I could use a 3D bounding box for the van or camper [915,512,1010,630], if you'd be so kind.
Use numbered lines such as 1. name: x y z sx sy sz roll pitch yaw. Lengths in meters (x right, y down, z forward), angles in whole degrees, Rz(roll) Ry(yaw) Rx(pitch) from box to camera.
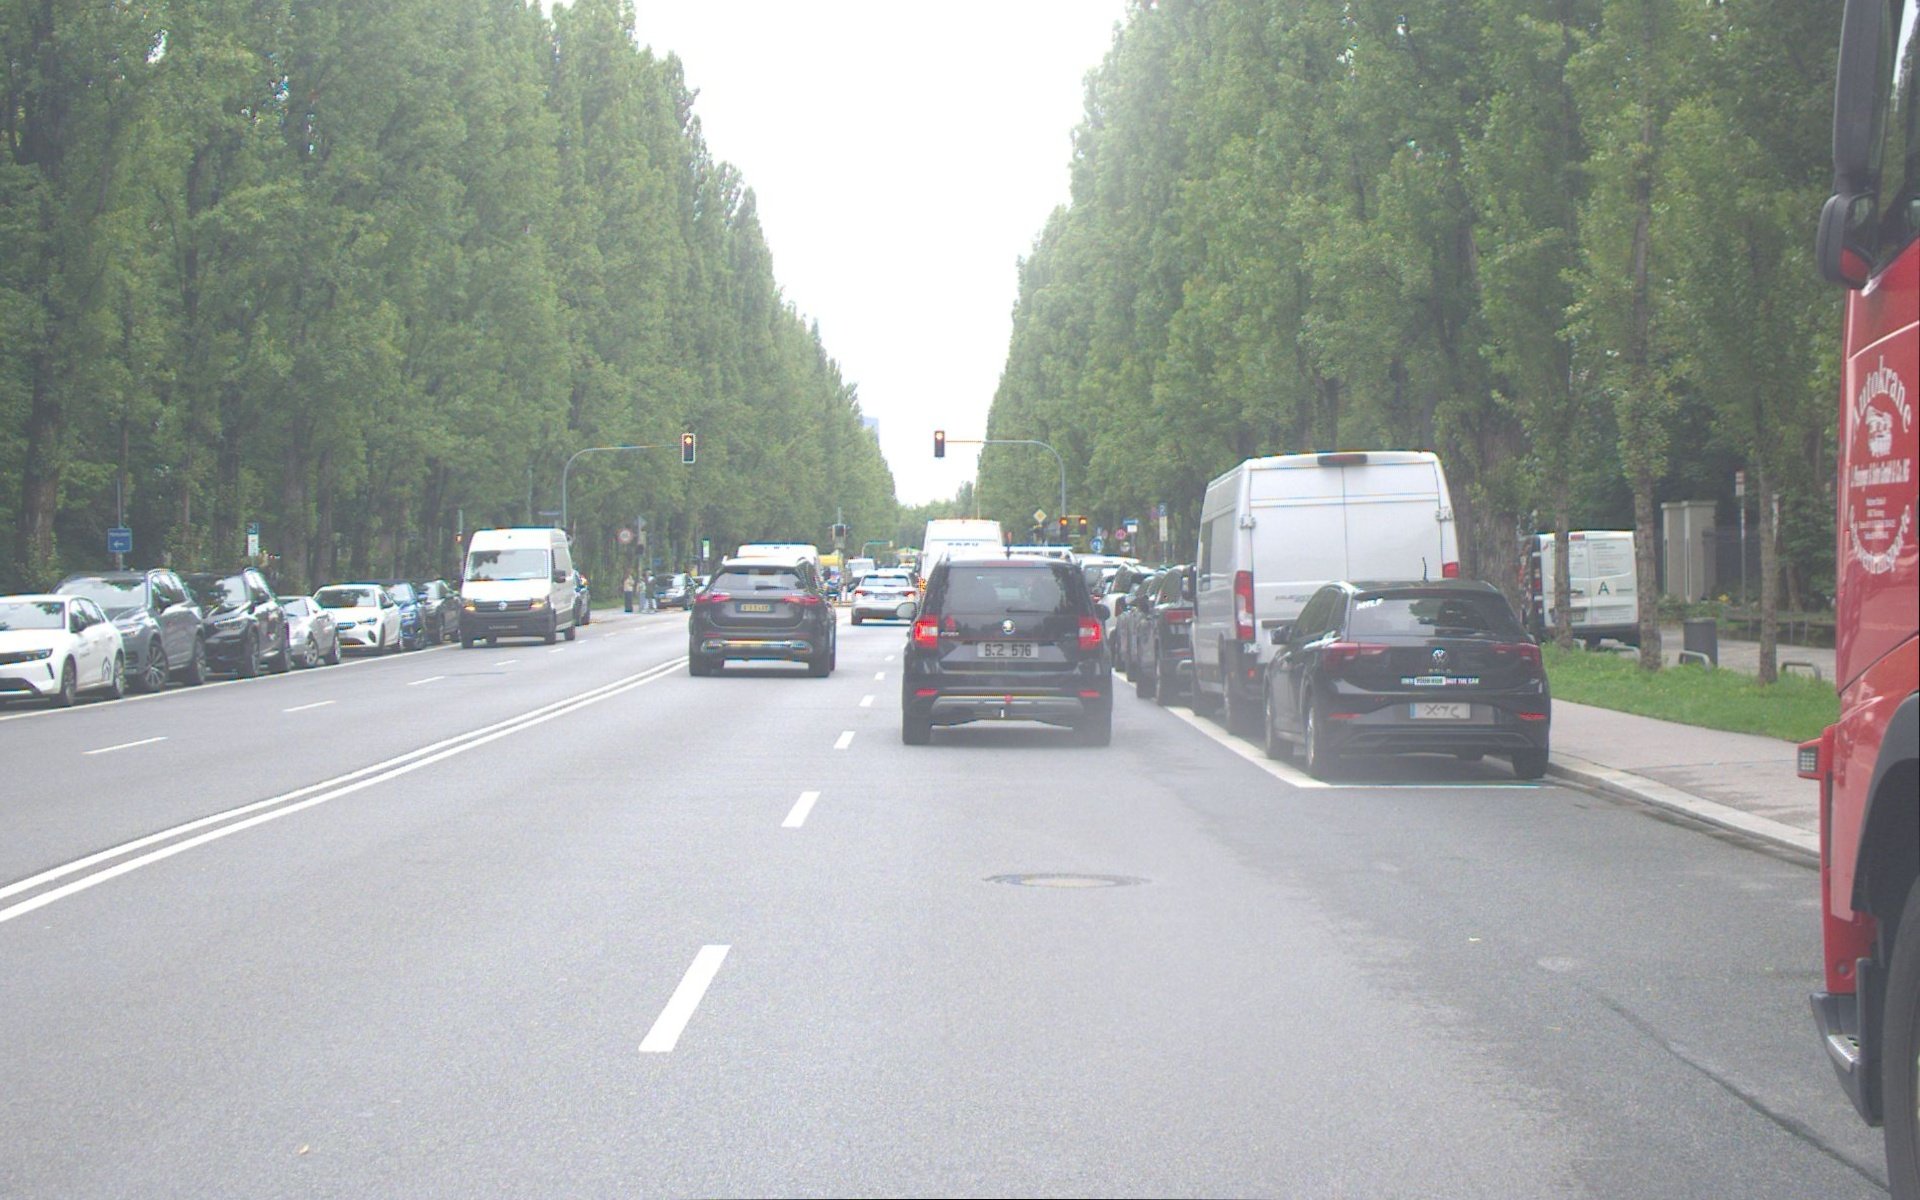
1. van or camper: 0.031 -0.662 76.633 1.975 2.540 4.025 -1 1 -1

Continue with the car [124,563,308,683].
1. car: -11.971 0.329 55.620 1.940 1.761 4.896 -3 1 -1

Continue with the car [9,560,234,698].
1. car: -12.051 0.370 49.752 1.909 1.783 5.180 -3 1 0

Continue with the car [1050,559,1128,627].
1. car: 3.125 -0.194 84.100 1.741 1.587 4.211 -1 1 0

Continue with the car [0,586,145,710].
1. car: -11.903 0.603 44.372 1.704 1.454 4.273 -3 1 0

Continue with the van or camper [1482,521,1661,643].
1. van or camper: 10.111 -0.327 57.249 2.076 1.927 5.368 0 1 1

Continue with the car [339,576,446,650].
1. car: -12.188 0.262 74.050 1.709 1.446 3.586 -3 1 -1

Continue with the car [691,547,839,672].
1. car: -2.685 0.093 48.141 1.781 1.614 4.025 2 1 0

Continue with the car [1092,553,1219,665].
1. car: 3.059 0.108 54.623 1.743 1.670 4.580 -1 1 0

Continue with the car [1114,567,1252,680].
1. car: 3.179 0.302 49.692 1.702 1.514 4.295 -1 1 0

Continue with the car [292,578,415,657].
1. car: -12.283 0.339 69.811 1.770 1.447 4.234 -3 1 -1

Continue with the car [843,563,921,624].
1. car: -2.026 -0.192 90.493 1.993 1.555 4.000 -1 1 -1

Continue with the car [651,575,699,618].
1. car: -12.177 -0.160 147.007 1.688 1.777 3.775 -1 1 0

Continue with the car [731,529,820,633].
1. car: -3.919 -0.375 73.169 1.781 2.104 4.025 1 -1 -3

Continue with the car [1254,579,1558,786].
1. car: 3.273 0.561 25.910 1.676 1.415 4.000 0 1 -1

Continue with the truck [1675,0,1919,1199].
1. truck: 3.138 -0.355 2.766 2.845 3.552 10.280 0 1 -1

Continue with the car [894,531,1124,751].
1. car: 0.416 0.317 30.341 1.855 1.764 4.000 1 1 0

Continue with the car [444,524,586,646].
1. car: -9.723 -0.360 75.611 2.228 2.475 6.758 -2 1 -1

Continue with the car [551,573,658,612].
1. car: -13.037 -0.290 126.122 1.711 1.361 3.813 0 1 38

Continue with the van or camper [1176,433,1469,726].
1. van or camper: 3.353 -0.210 33.090 2.139 2.531 6.417 0 1 0

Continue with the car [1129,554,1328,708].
1. car: 3.023 0.304 39.550 1.784 1.643 4.418 -1 1 -2

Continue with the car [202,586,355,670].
1. car: -12.077 0.475 61.153 1.826 1.329 4.234 -3 1 0

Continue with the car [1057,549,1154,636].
1. car: 3.225 -0.186 76.889 1.851 1.875 4.169 -1 1 -2

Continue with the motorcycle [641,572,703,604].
1. motorcycle: -11.576 -0.468 138.240 2.363 1.265 0.930 0 1 1
